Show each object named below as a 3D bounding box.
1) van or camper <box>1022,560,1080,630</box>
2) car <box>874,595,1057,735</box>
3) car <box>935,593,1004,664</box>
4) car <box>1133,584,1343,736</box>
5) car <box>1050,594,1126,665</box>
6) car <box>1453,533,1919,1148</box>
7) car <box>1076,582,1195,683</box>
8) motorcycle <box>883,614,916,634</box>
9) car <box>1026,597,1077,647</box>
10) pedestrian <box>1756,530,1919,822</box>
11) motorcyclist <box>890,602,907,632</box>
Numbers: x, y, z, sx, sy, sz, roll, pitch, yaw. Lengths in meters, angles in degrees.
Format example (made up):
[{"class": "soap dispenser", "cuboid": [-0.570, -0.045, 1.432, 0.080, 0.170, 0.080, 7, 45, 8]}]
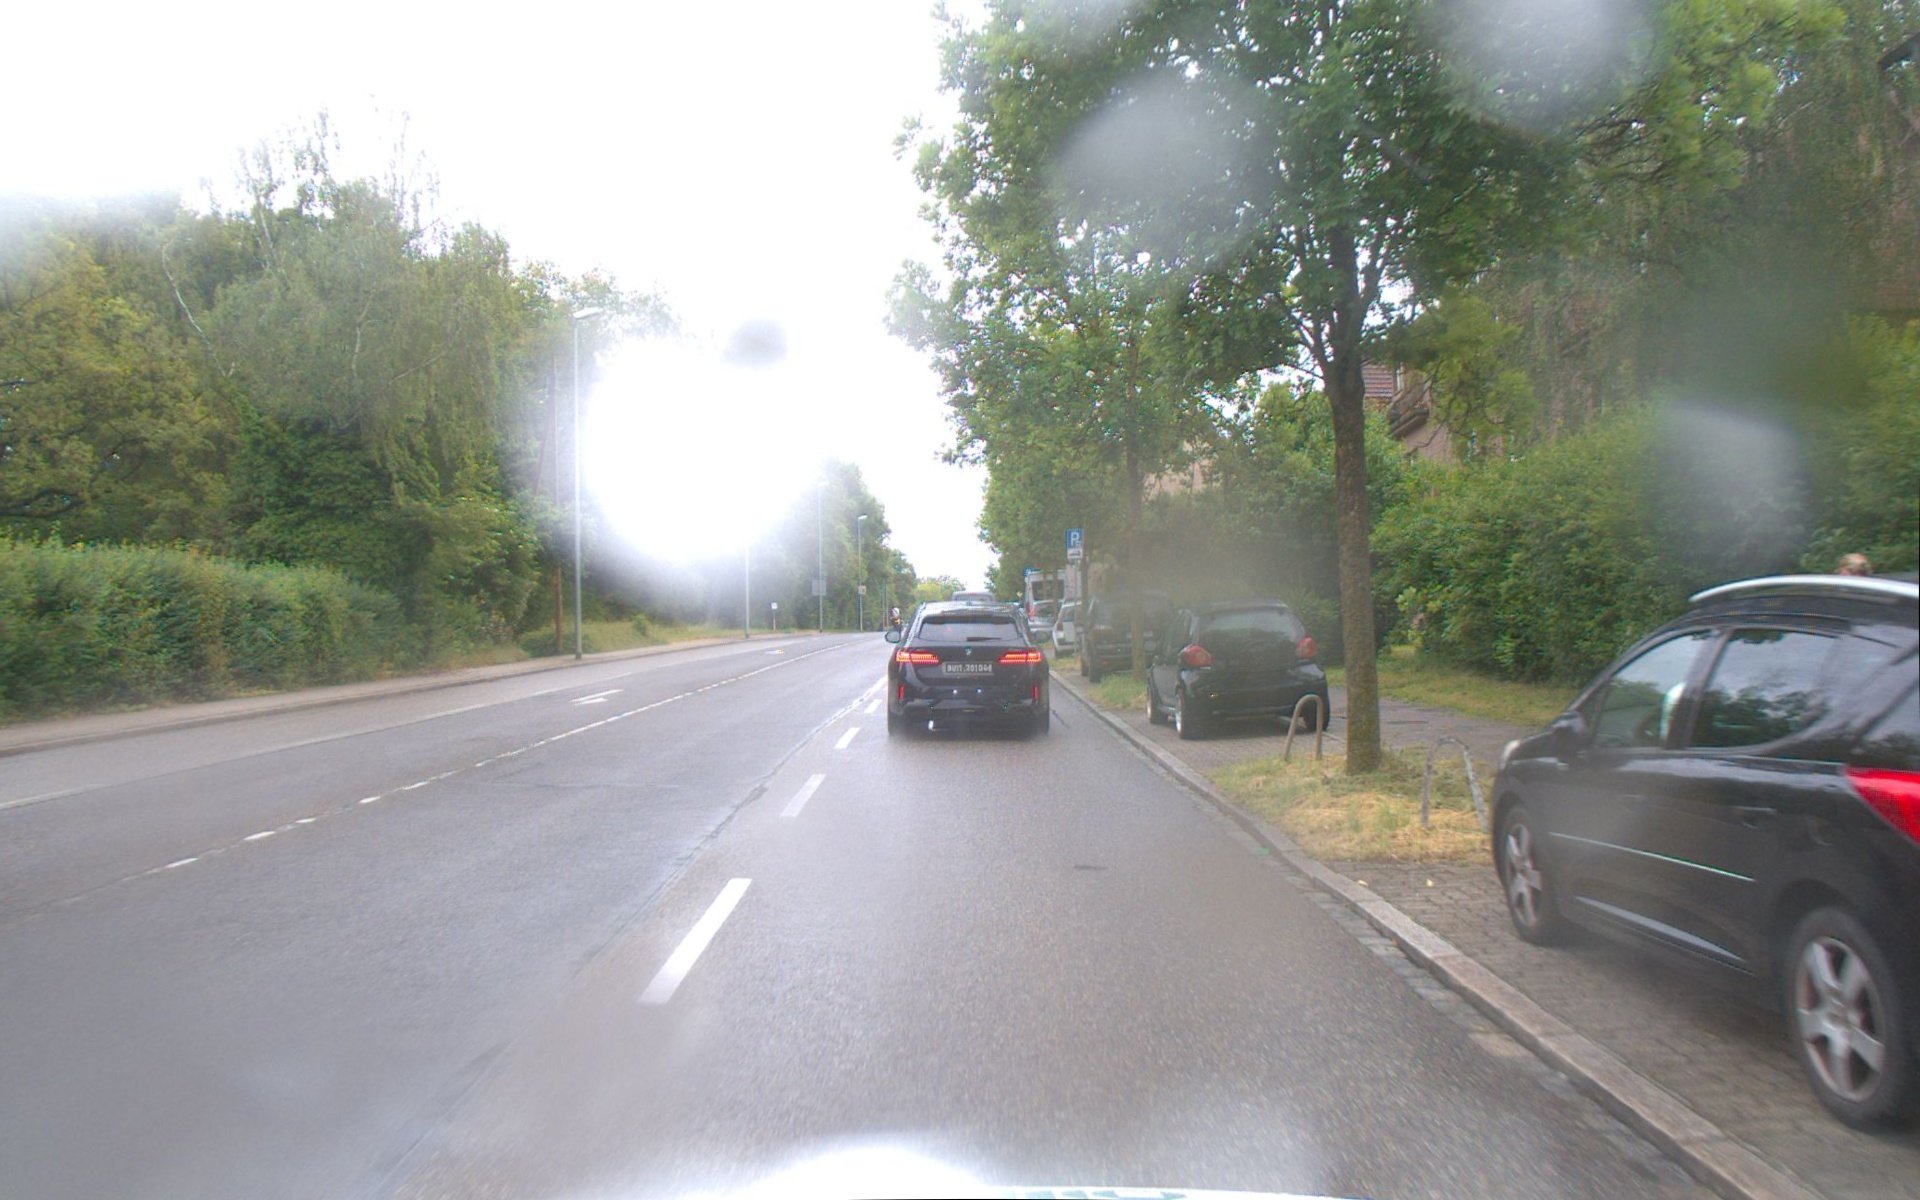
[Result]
[{"class": "van or camper", "cuboid": [3.761, -0.195, 69.831, 2.152, 2.697, 7.303, -3, 0, 2]}, {"class": "car", "cuboid": [0.043, 0.744, 19.940, 1.953, 1.478, 3.999, 1, -1, -1]}, {"class": "car", "cuboid": [0.319, 0.871, 49.916, 1.952, 2.049, 4.000, -1, -1, 2]}, {"class": "car", "cuboid": [3.158, 0.642, 19.486, 1.687, 1.538, 3.784, -3, 0, -2]}, {"class": "car", "cuboid": [3.324, 0.731, 42.993, 1.786, 1.630, 4.476, -3, 0, 4]}, {"class": "car", "cuboid": [3.261, 0.590, 5.925, 1.609, 1.623, 4.012, -4, 0, -2]}, {"class": "car", "cuboid": [3.302, 0.599, 31.924, 1.787, 1.707, 4.584, -3, 0, 1]}, {"class": "motorcycle", "cuboid": [-3.564, 1.409, 97.568, 0.816, 1.137, 2.159, 1, -1, -38]}, {"class": "car", "cuboid": [3.225, 0.760, 58.061, 1.634, 1.555, 3.833, -4, -1, 4]}, {"class": "pedestrian", "cuboid": [5.559, 0.448, 10.268, 0.702, 1.709, 0.894, -2, -1, -4]}, {"class": "motorcyclist", "cuboid": [-3.614, 0.998, 97.632, 0.805, 1.710, 0.642, 1, -1, -38]}]
